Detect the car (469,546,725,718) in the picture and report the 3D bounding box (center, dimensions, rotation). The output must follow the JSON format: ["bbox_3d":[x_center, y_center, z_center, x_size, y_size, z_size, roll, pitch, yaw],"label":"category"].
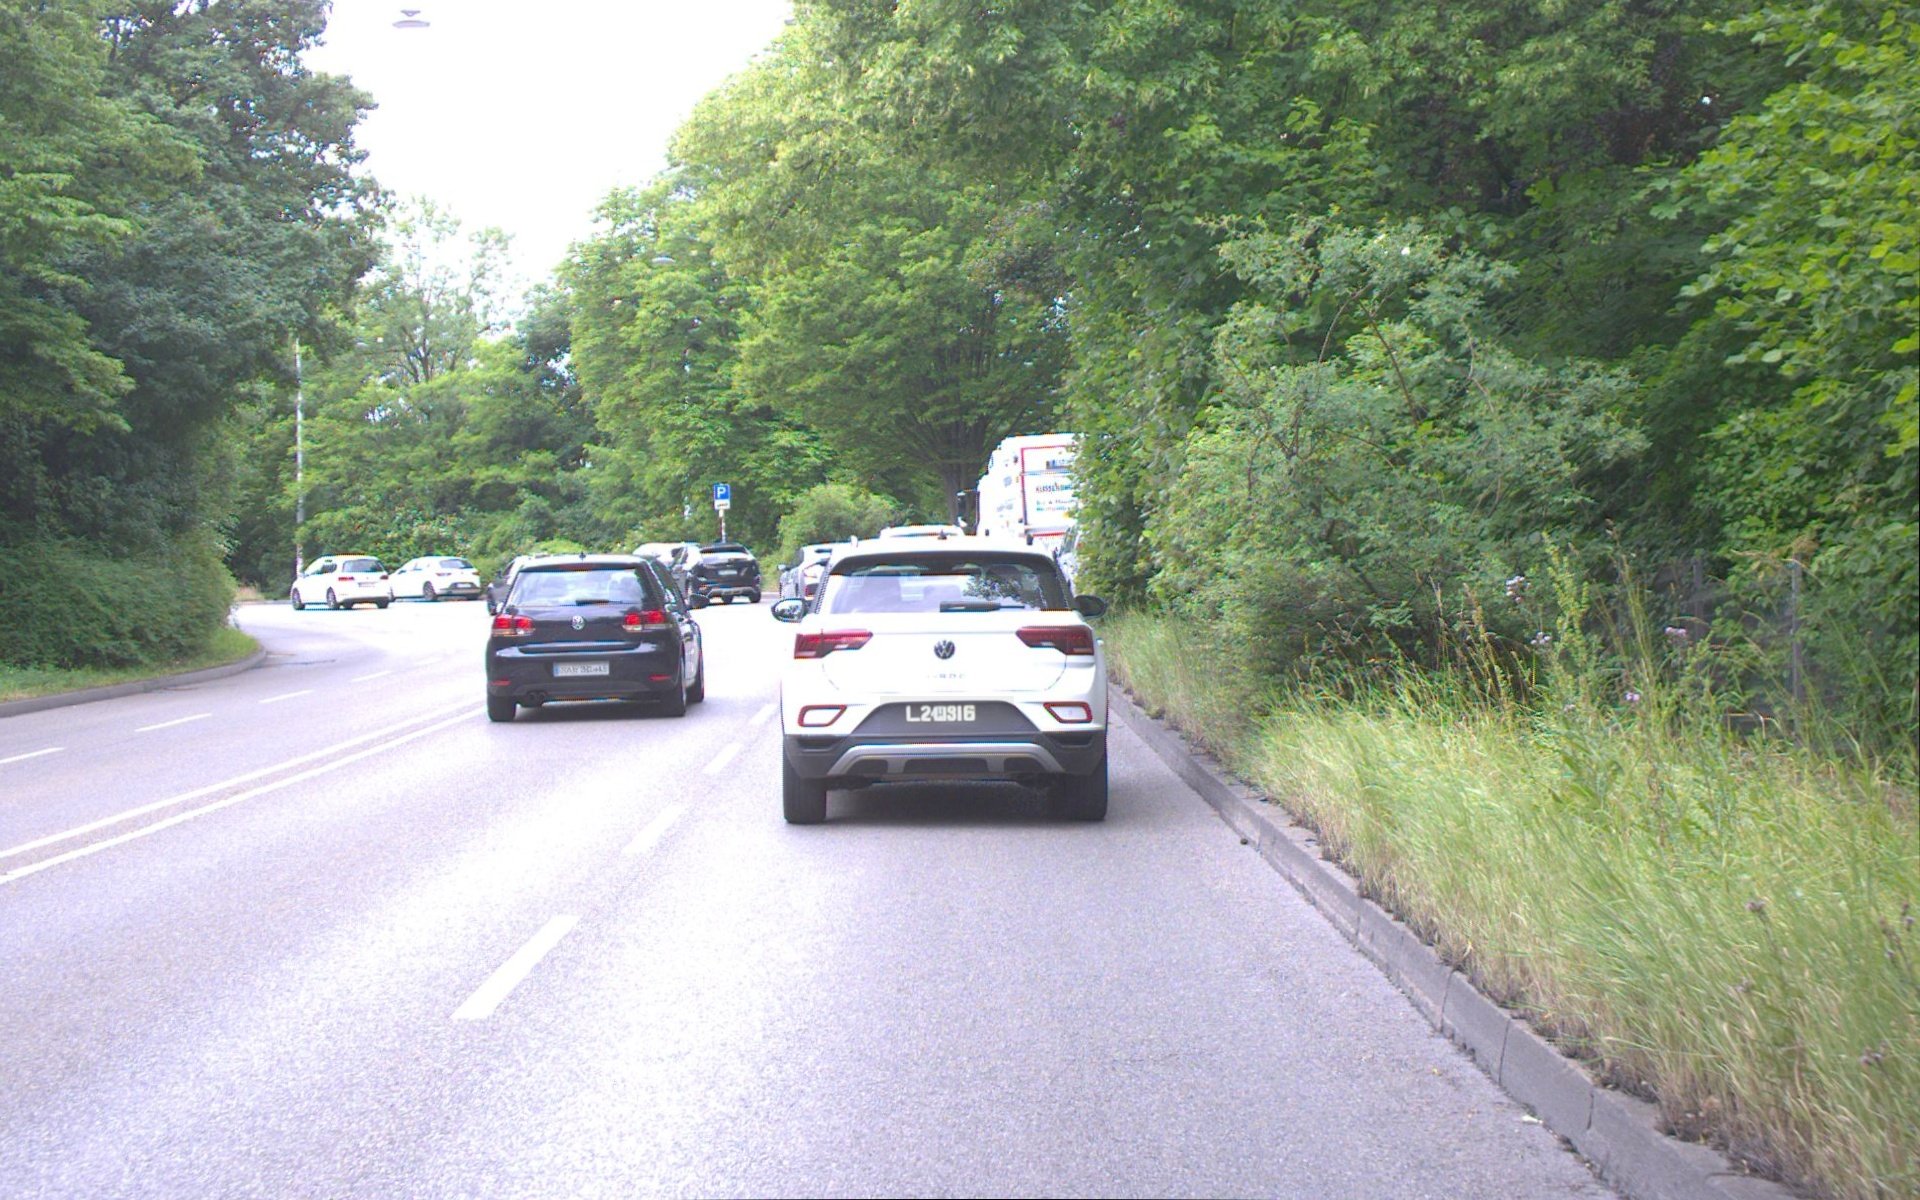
[{"bbox_3d":[-3.257,0.296,31.531,1.949,1.461,4.000,1,-1,0],"label":"car"}]

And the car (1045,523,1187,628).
[{"bbox_3d":[2.461,-0.390,55.061,1.803,1.519,4.000,-3,1,-3],"label":"car"}]

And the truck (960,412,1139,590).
[{"bbox_3d":[1.608,-1.819,65.370,2.481,3.171,7.230,0,0,-6],"label":"truck"}]

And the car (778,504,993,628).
[{"bbox_3d":[-1.166,-0.523,51.540,1.851,1.697,4.001,-4,2,-22],"label":"car"}]

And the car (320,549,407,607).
[{"bbox_3d":[-17.001,-0.627,98.164,1.821,1.617,4.000,1,0,0],"label":"car"}]

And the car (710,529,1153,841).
[{"bbox_3d":[-0.281,0.421,19.675,2.000,1.590,4.001,0,0,-8],"label":"car"}]

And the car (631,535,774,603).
[{"bbox_3d":[-6.279,-0.756,83.466,1.766,1.601,4.000,0,1,-33],"label":"car"}]

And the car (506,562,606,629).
[{"bbox_3d":[-9.844,-0.129,83.940,1.993,1.586,4.000,1,0,0],"label":"car"}]
